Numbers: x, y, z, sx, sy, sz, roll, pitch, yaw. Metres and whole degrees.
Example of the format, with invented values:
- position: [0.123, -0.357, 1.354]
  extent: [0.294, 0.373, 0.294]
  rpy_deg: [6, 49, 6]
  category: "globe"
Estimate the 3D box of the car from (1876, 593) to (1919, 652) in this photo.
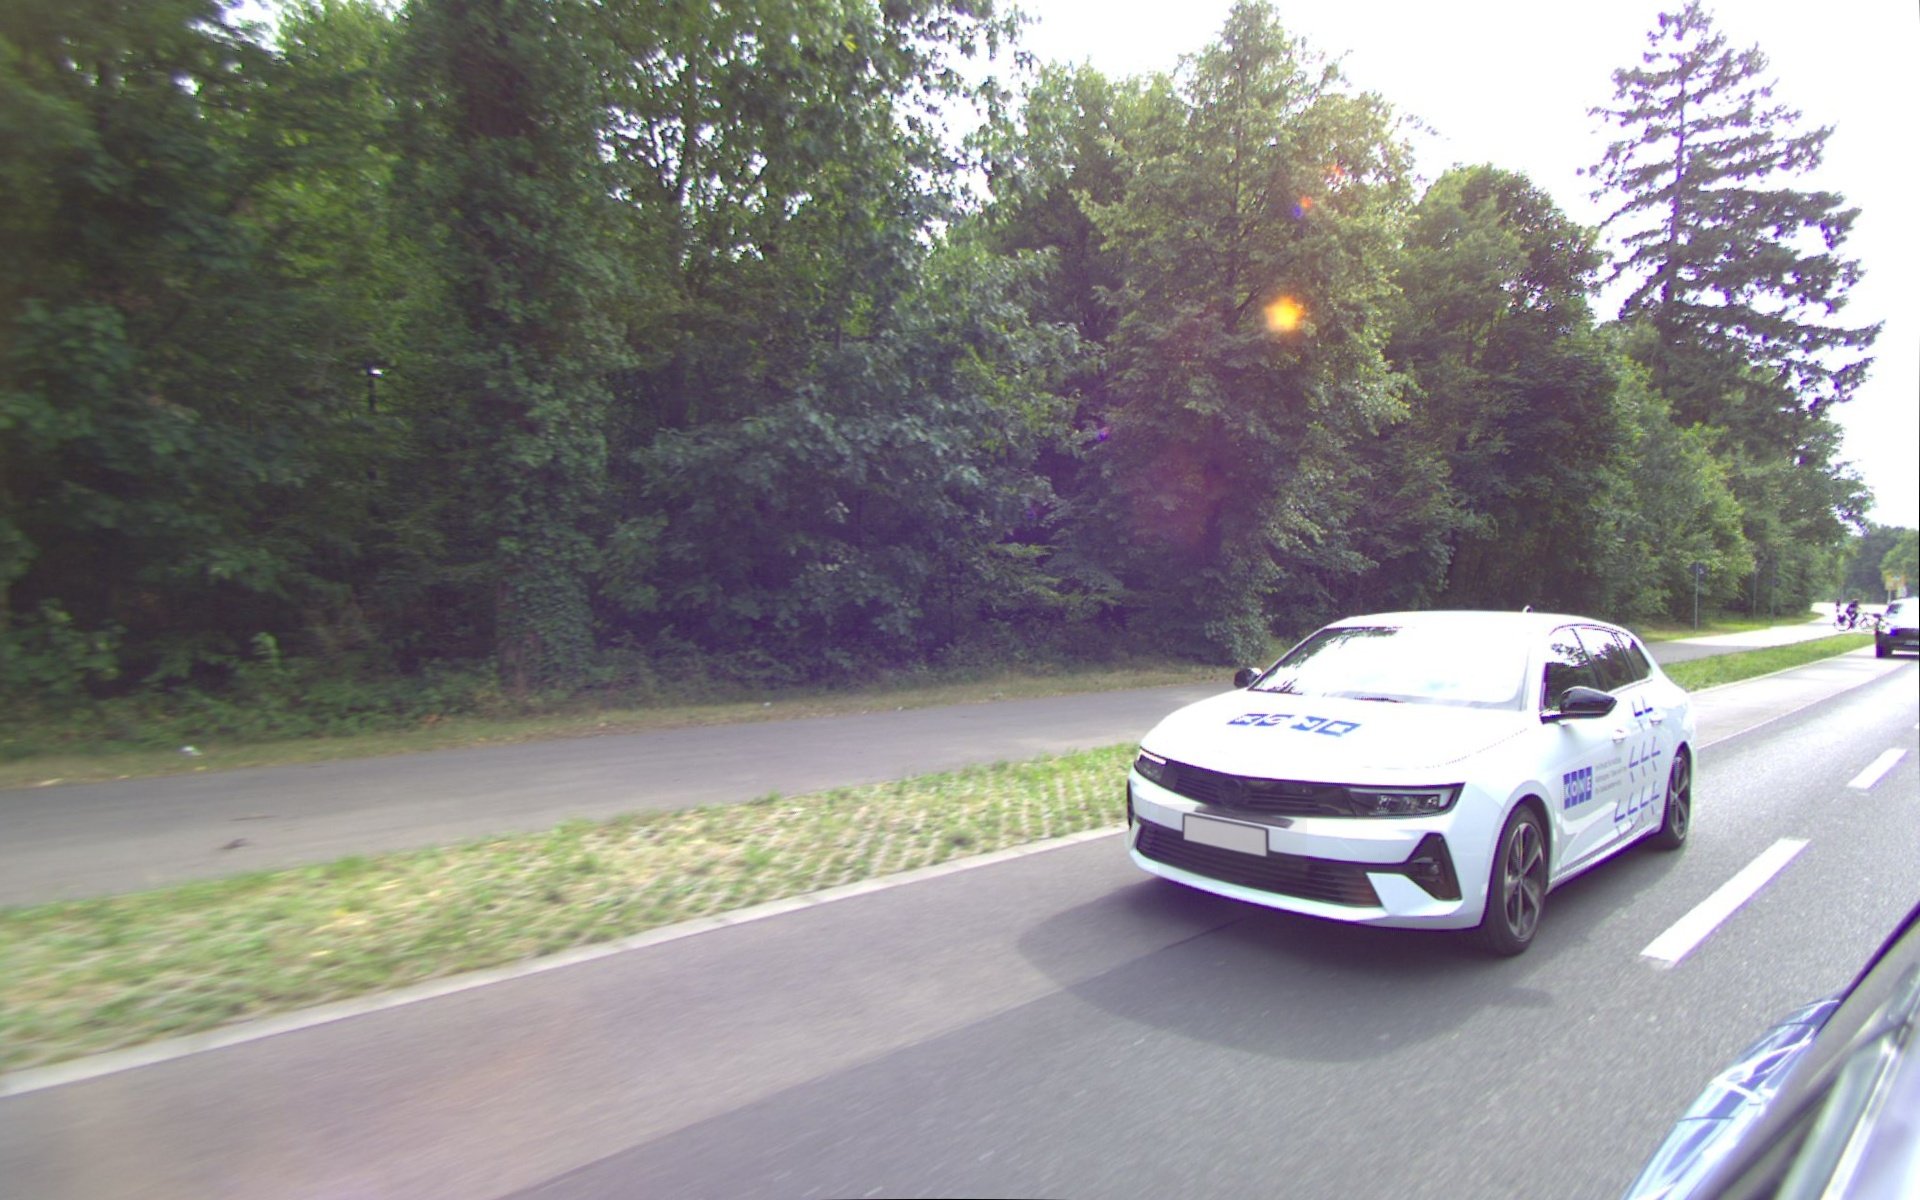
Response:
- position: [28.082, 0.606, 29.294]
  extent: [3.933, 1.594, 1.995]
  rpy_deg: [-1, 0, -43]
  category: "car"

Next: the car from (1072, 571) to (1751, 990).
- position: [2.787, 0.674, 5.639]
  extent: [4.413, 1.428, 1.839]
  rpy_deg: [2, -2, -42]
  category: "car"

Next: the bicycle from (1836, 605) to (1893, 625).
- position: [46.801, 0.772, 52.395]
  extent: [2.173, 1.006, 0.700]
  rpy_deg: [1, 1, 43]
  category: "bicycle"

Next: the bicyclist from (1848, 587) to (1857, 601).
- position: [93.374, -0.655, 105.840]
  extent: [0.518, 1.433, 1.172]
  rpy_deg: [-1, 0, 33]
  category: "bicyclist"

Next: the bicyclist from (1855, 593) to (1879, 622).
- position: [46.887, 0.380, 52.339]
  extent: [0.898, 1.489, 0.700]
  rpy_deg: [1, 0, 44]
  category: "bicyclist"

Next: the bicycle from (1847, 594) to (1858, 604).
- position: [93.385, -0.083, 105.855]
  extent: [0.564, 0.923, 1.864]
  rpy_deg: [4, 1, 33]
  category: "bicycle"
